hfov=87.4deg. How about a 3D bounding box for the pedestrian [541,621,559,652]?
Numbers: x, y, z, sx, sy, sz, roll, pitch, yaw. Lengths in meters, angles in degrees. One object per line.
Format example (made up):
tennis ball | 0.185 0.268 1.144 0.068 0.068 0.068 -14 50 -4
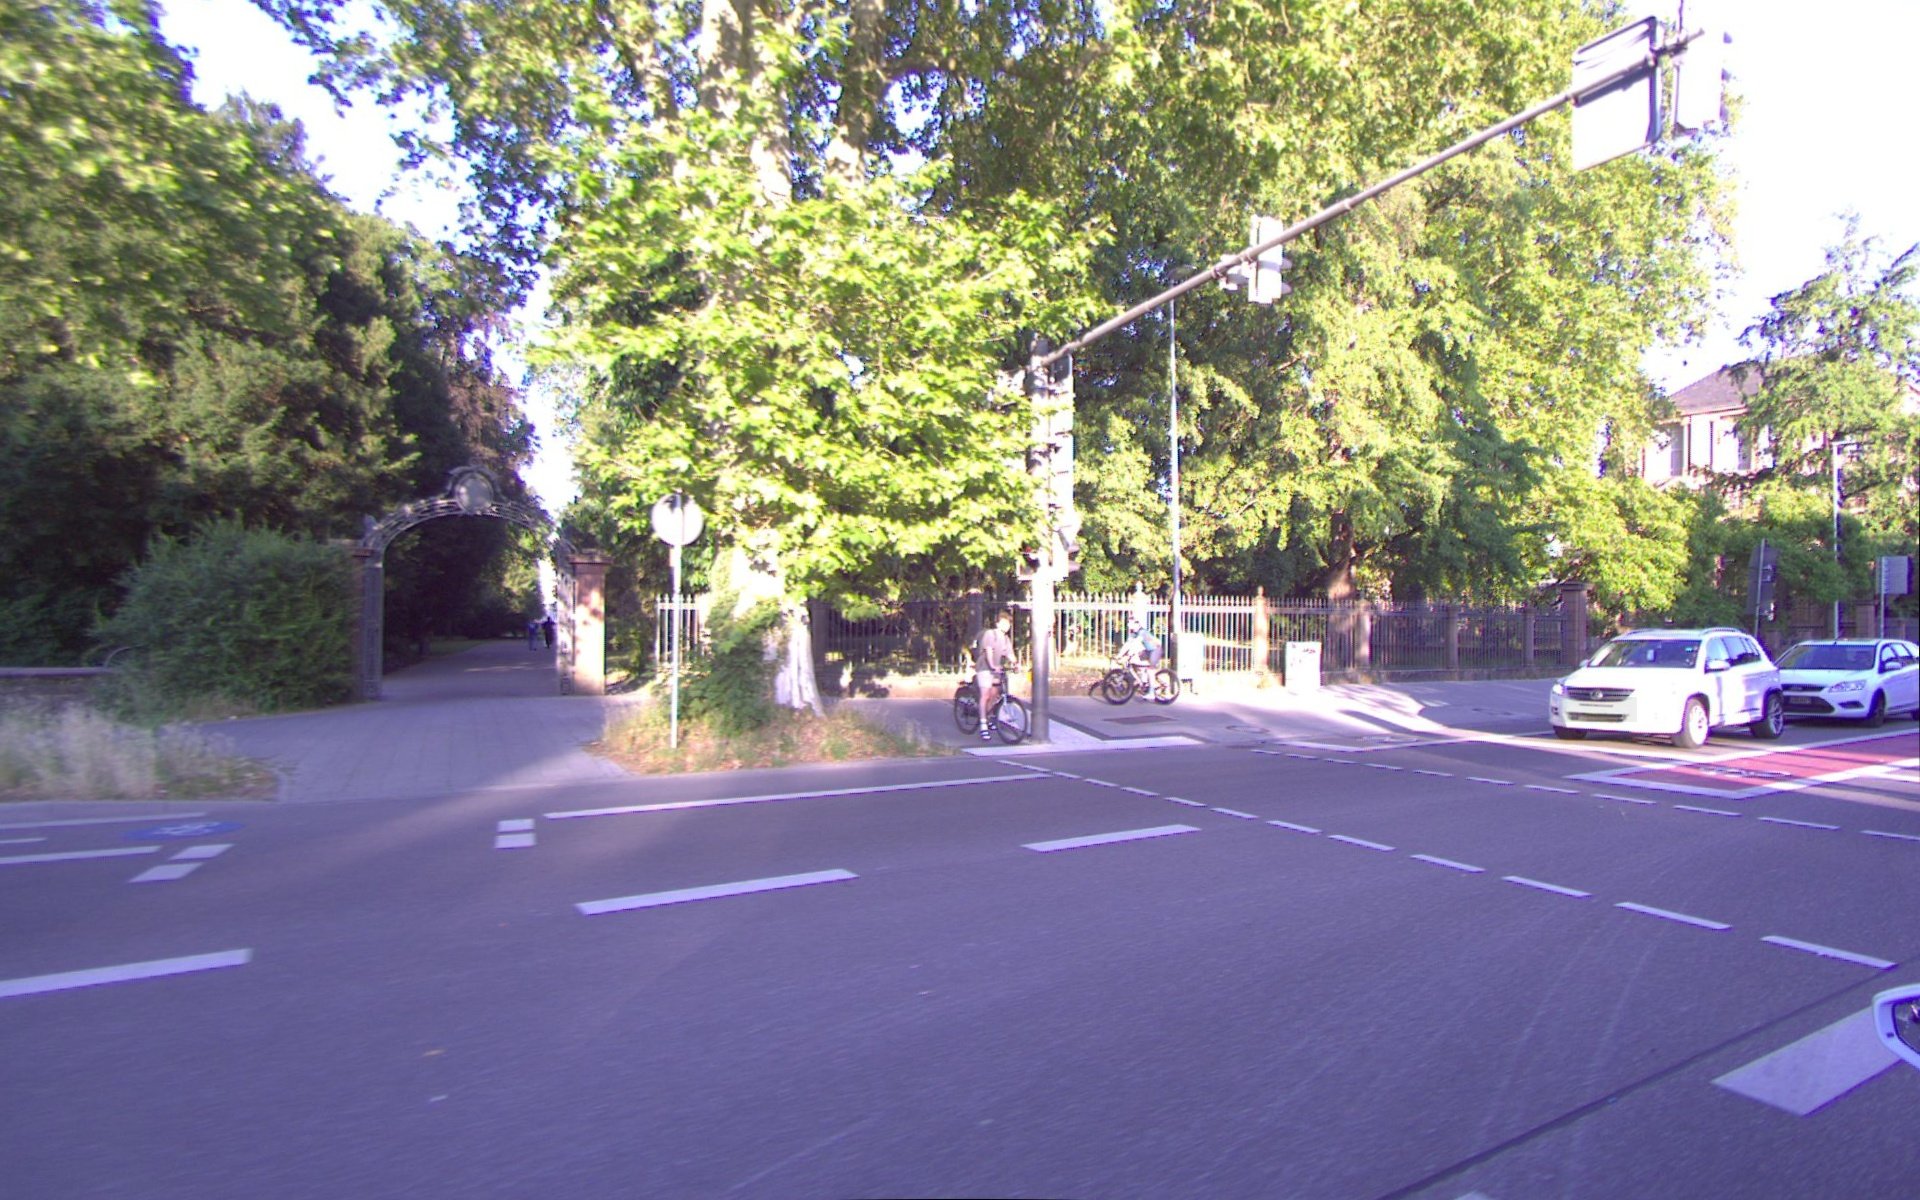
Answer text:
pedestrian | -22.527 1.994 55.195 0.892 1.682 0.870 1 -1 -22

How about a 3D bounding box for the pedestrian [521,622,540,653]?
pedestrian | -23.544 2.069 55.112 0.892 1.682 0.870 1 -1 -22

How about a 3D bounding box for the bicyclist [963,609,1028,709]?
bicyclist | 0.504 0.819 14.332 0.566 1.379 0.833 1 -1 -30

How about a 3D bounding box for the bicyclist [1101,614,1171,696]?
bicyclist | 3.311 1.026 18.938 0.929 1.451 0.854 2 3 -21

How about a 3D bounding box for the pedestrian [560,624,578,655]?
pedestrian | -21.716 2.201 55.836 0.892 1.682 0.870 1 -1 -22

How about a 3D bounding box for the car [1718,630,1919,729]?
car | 16.041 1.382 18.449 4.624 1.604 1.906 1 -3 -33

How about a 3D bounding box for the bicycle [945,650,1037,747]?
bicycle | 0.418 1.372 14.426 0.566 1.245 1.620 1 -1 -29

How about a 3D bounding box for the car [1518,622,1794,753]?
car | 10.598 1.231 15.223 4.379 1.718 1.906 1 -3 -33

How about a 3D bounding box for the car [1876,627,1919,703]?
car | 22.944 1.456 22.902 4.589 1.646 1.906 1 -3 -33

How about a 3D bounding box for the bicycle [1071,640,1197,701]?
bicycle | 3.276 1.322 18.922 2.165 1.029 0.853 2 3 -21
